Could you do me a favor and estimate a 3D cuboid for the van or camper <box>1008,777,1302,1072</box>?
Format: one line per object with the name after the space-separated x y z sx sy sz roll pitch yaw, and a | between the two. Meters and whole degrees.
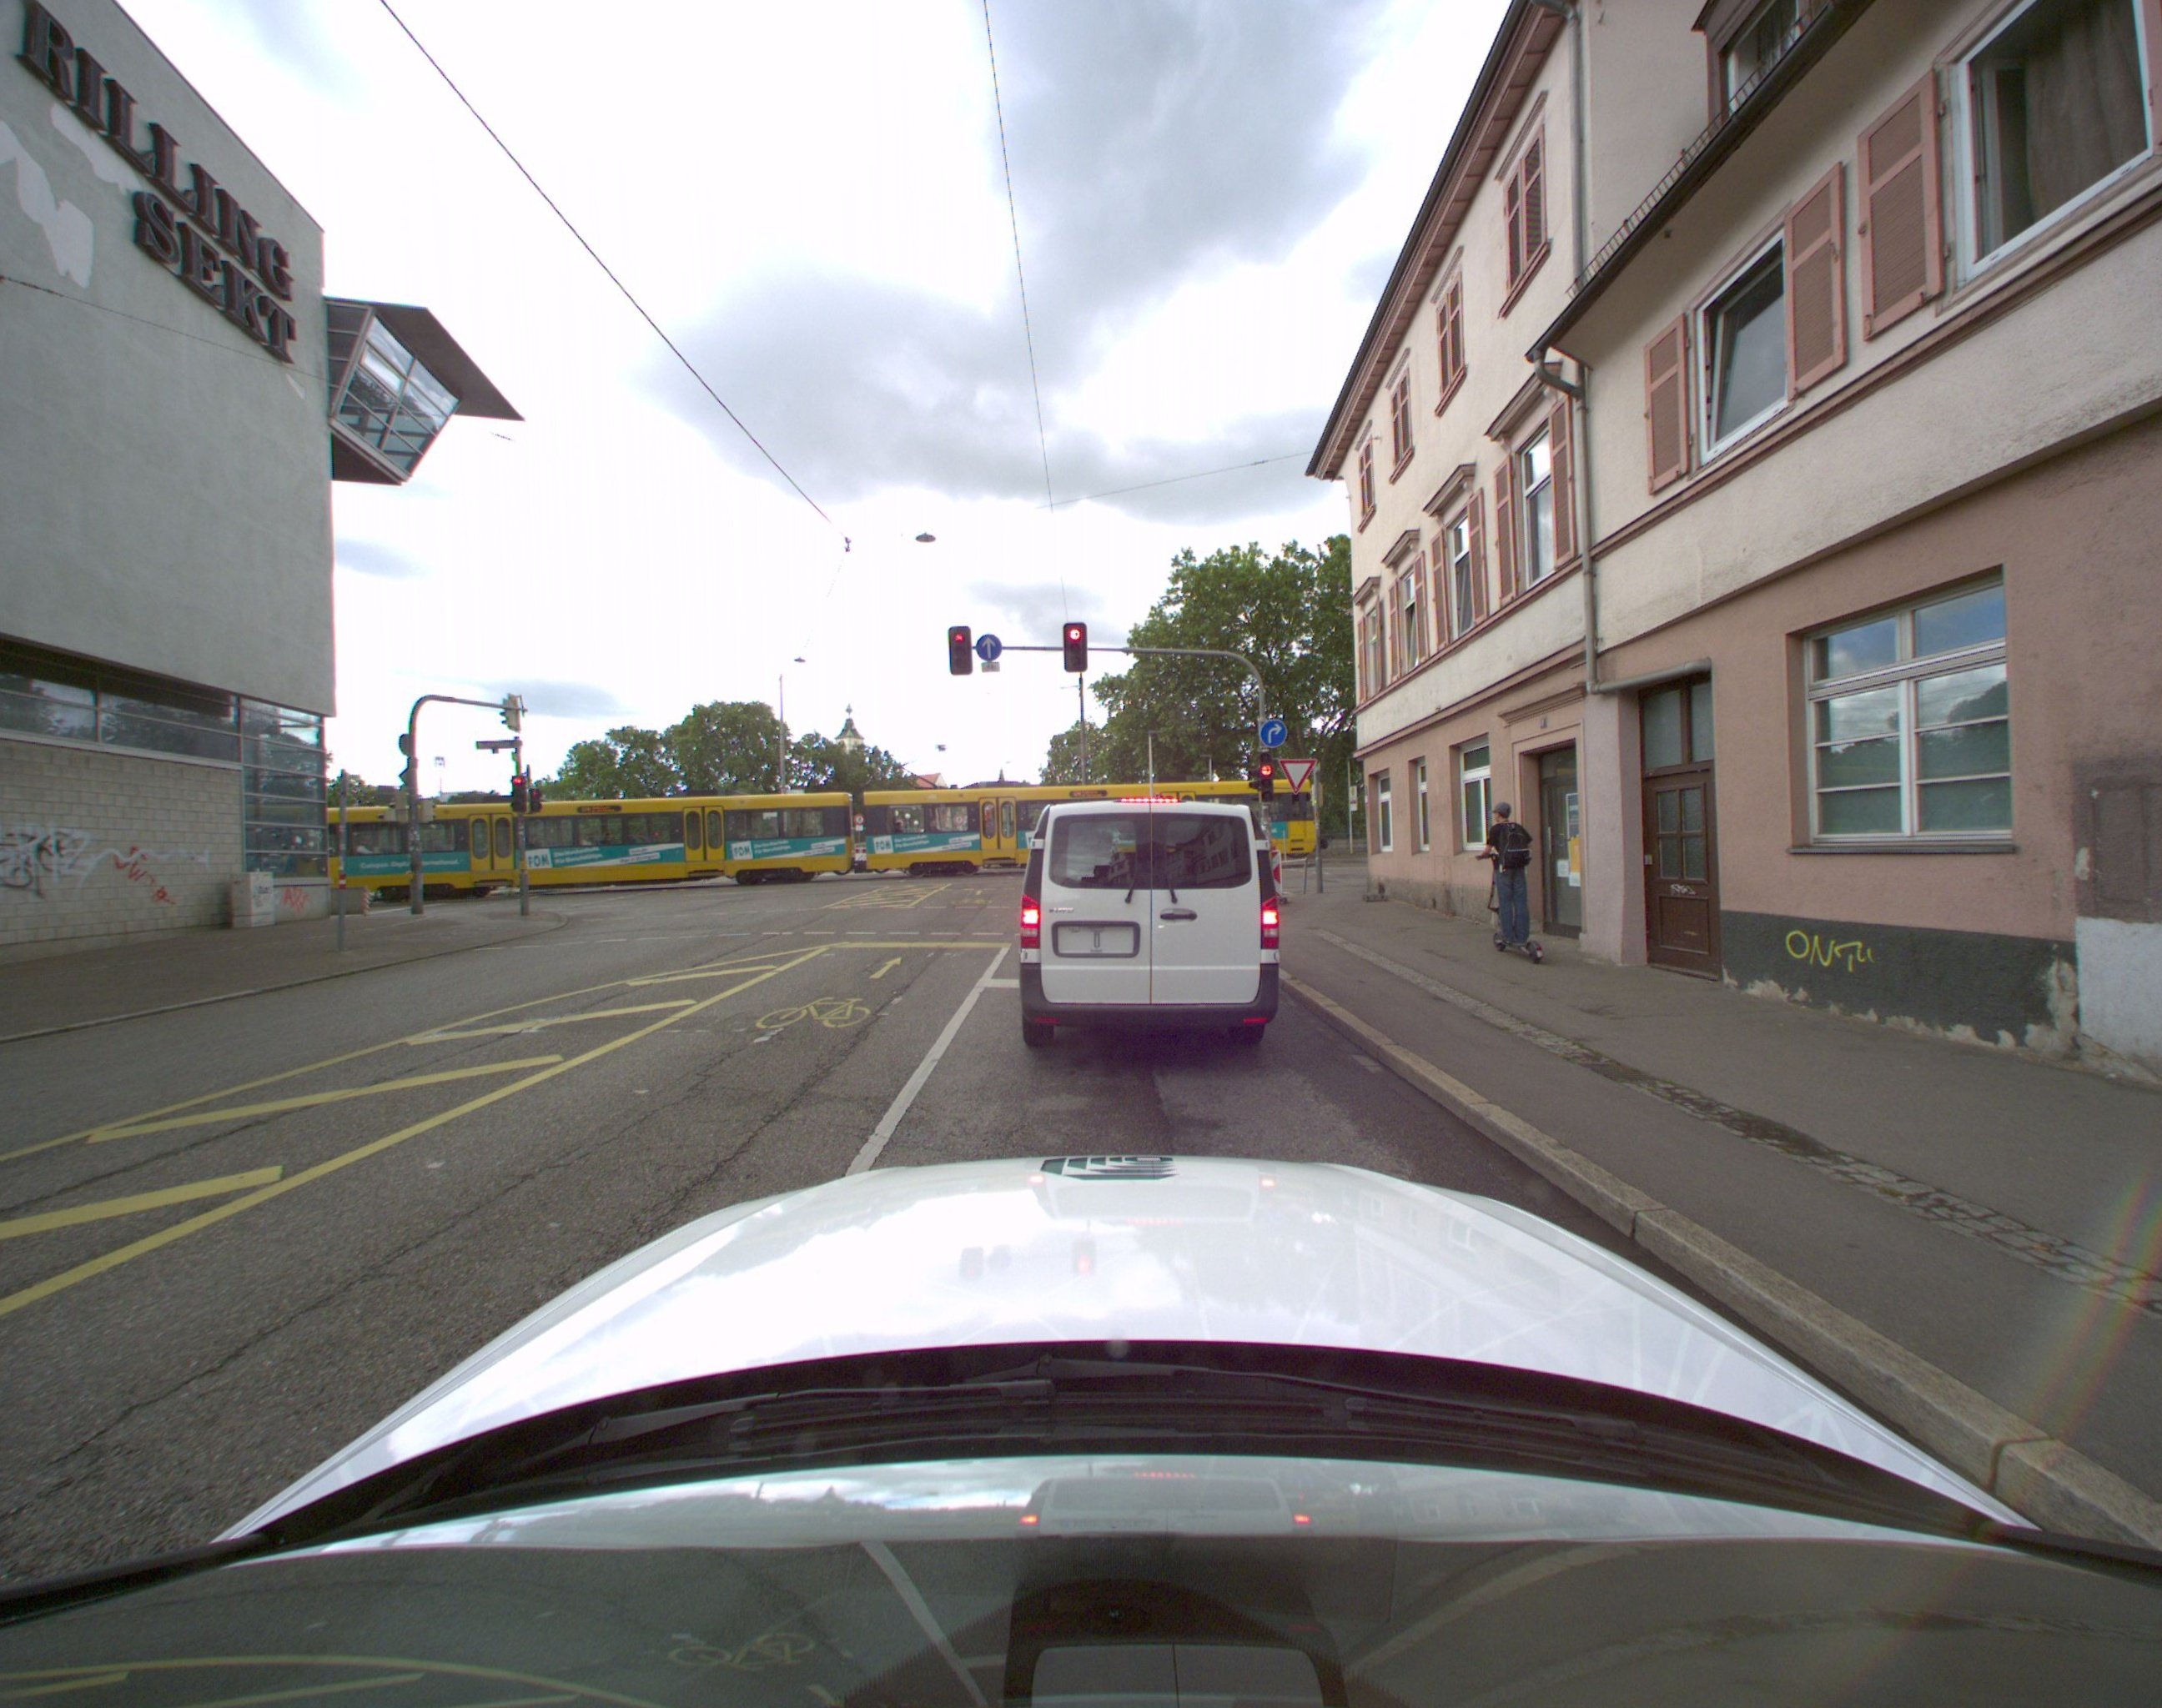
0.479 0.437 7.583 1.932 1.924 4.440 0 1 -1 | van or camper

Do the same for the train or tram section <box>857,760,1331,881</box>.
0.681 -1.473 33.871 18.743 4.002 3.260 -3 3 -6 | train or tram section

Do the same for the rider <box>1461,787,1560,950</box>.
5.112 0.168 9.742 0.715 1.847 0.798 -2 0 1 | rider

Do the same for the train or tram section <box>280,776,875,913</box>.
-17.998 -0.556 31.184 19.231 4.002 3.298 -3 2 -11 | train or tram section

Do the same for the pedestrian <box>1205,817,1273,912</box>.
3.256 0.202 16.762 1.158 1.856 0.672 -3 1 -35 | pedestrian
